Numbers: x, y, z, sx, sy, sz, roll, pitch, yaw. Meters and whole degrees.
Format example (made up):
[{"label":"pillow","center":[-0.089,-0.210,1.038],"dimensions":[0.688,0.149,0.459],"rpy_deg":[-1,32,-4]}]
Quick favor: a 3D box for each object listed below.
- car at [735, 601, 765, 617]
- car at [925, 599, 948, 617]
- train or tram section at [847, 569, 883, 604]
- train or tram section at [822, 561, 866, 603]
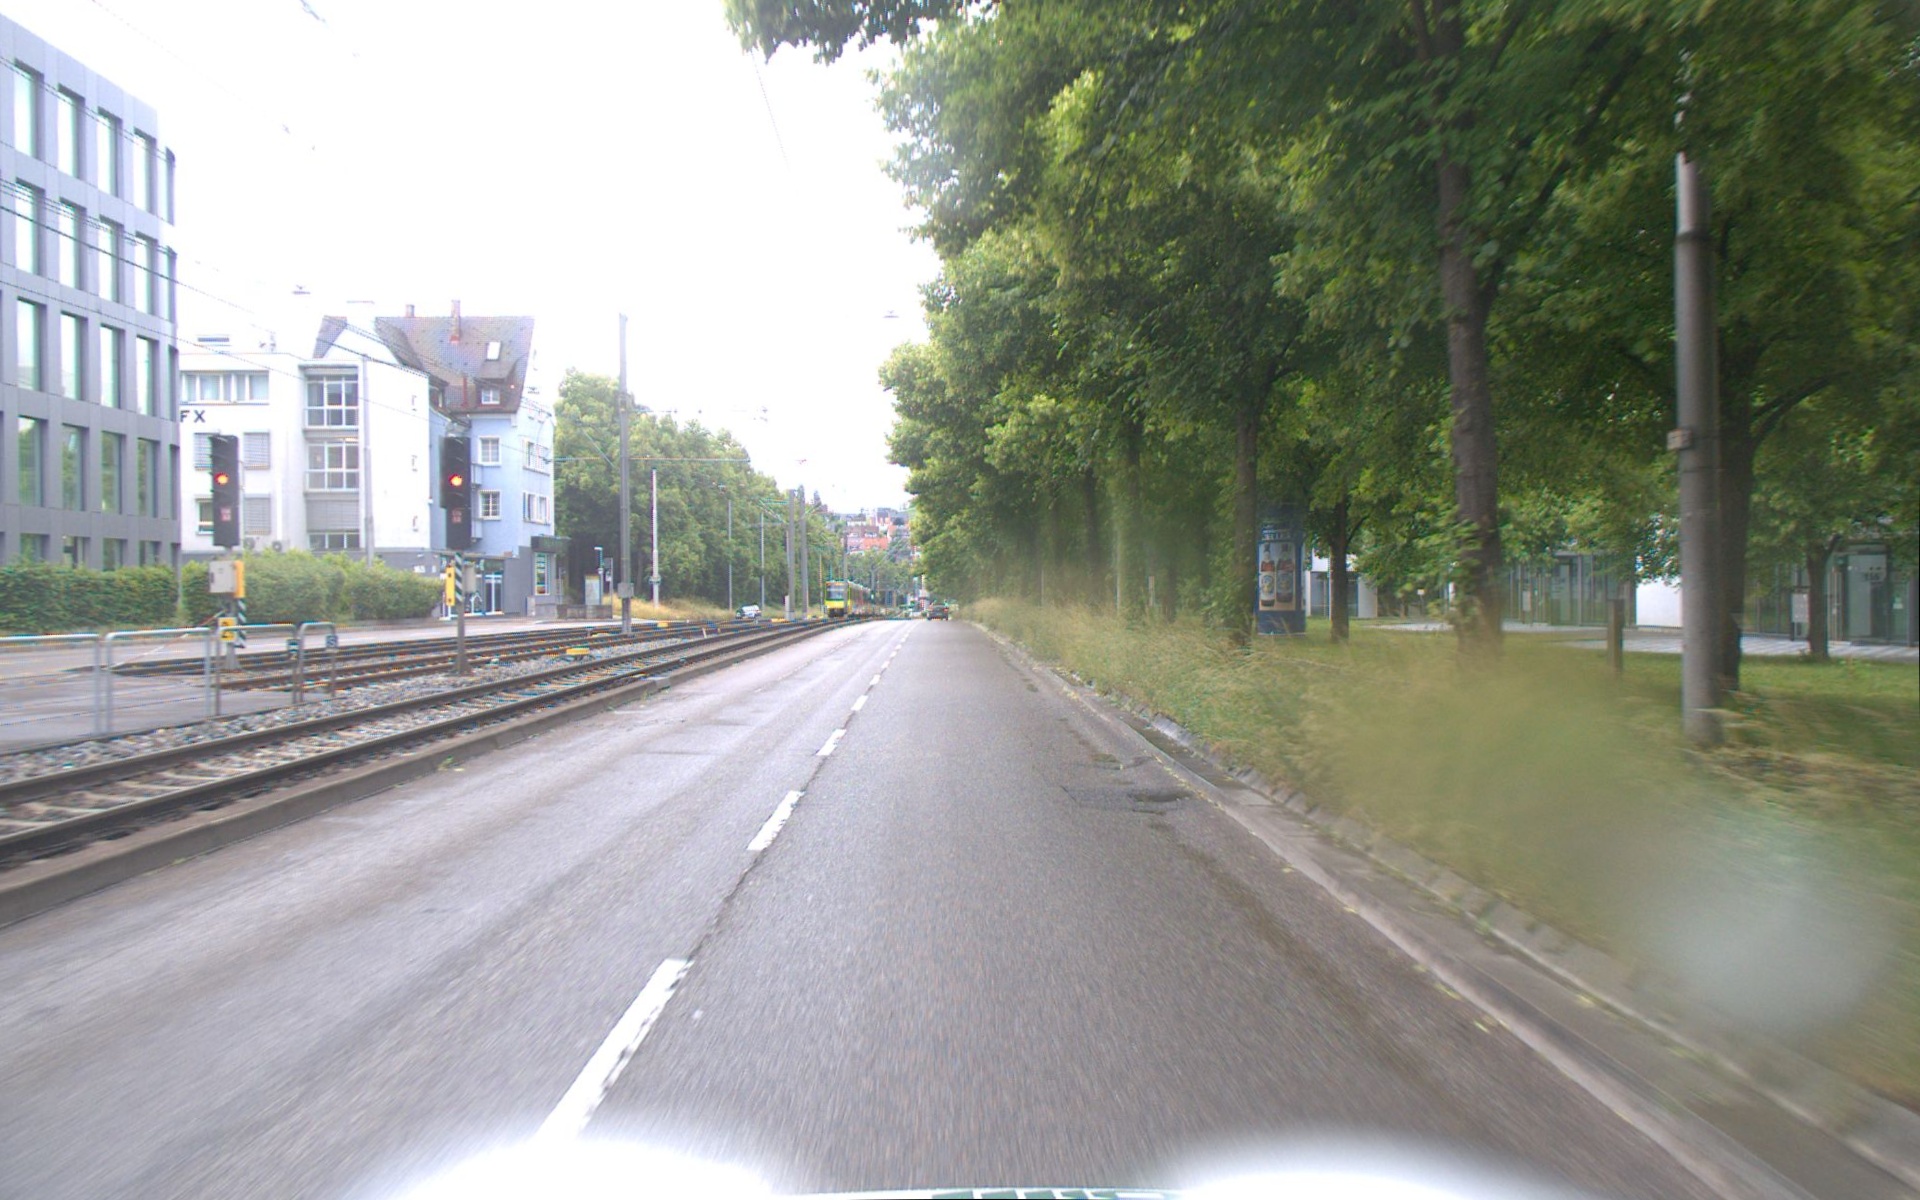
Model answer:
[{"label":"car","center":[-17.968,0.768,141.570],"dimensions":[1.863,1.348,4.826],"rpy_deg":[0,0,1]},{"label":"car","center":[-1.953,0.673,139.080],"dimensions":[1.942,1.466,4.473],"rpy_deg":[0,0,-1]},{"label":"train or tram section","center":[-11.083,-1.506,193.909],"dimensions":[3.148,3.863,14.789],"rpy_deg":[0,0,1]},{"label":"train or tram section","center":[-11.389,-1.703,164.200],"dimensions":[3.148,3.863,14.789],"rpy_deg":[0,0,1]}]
